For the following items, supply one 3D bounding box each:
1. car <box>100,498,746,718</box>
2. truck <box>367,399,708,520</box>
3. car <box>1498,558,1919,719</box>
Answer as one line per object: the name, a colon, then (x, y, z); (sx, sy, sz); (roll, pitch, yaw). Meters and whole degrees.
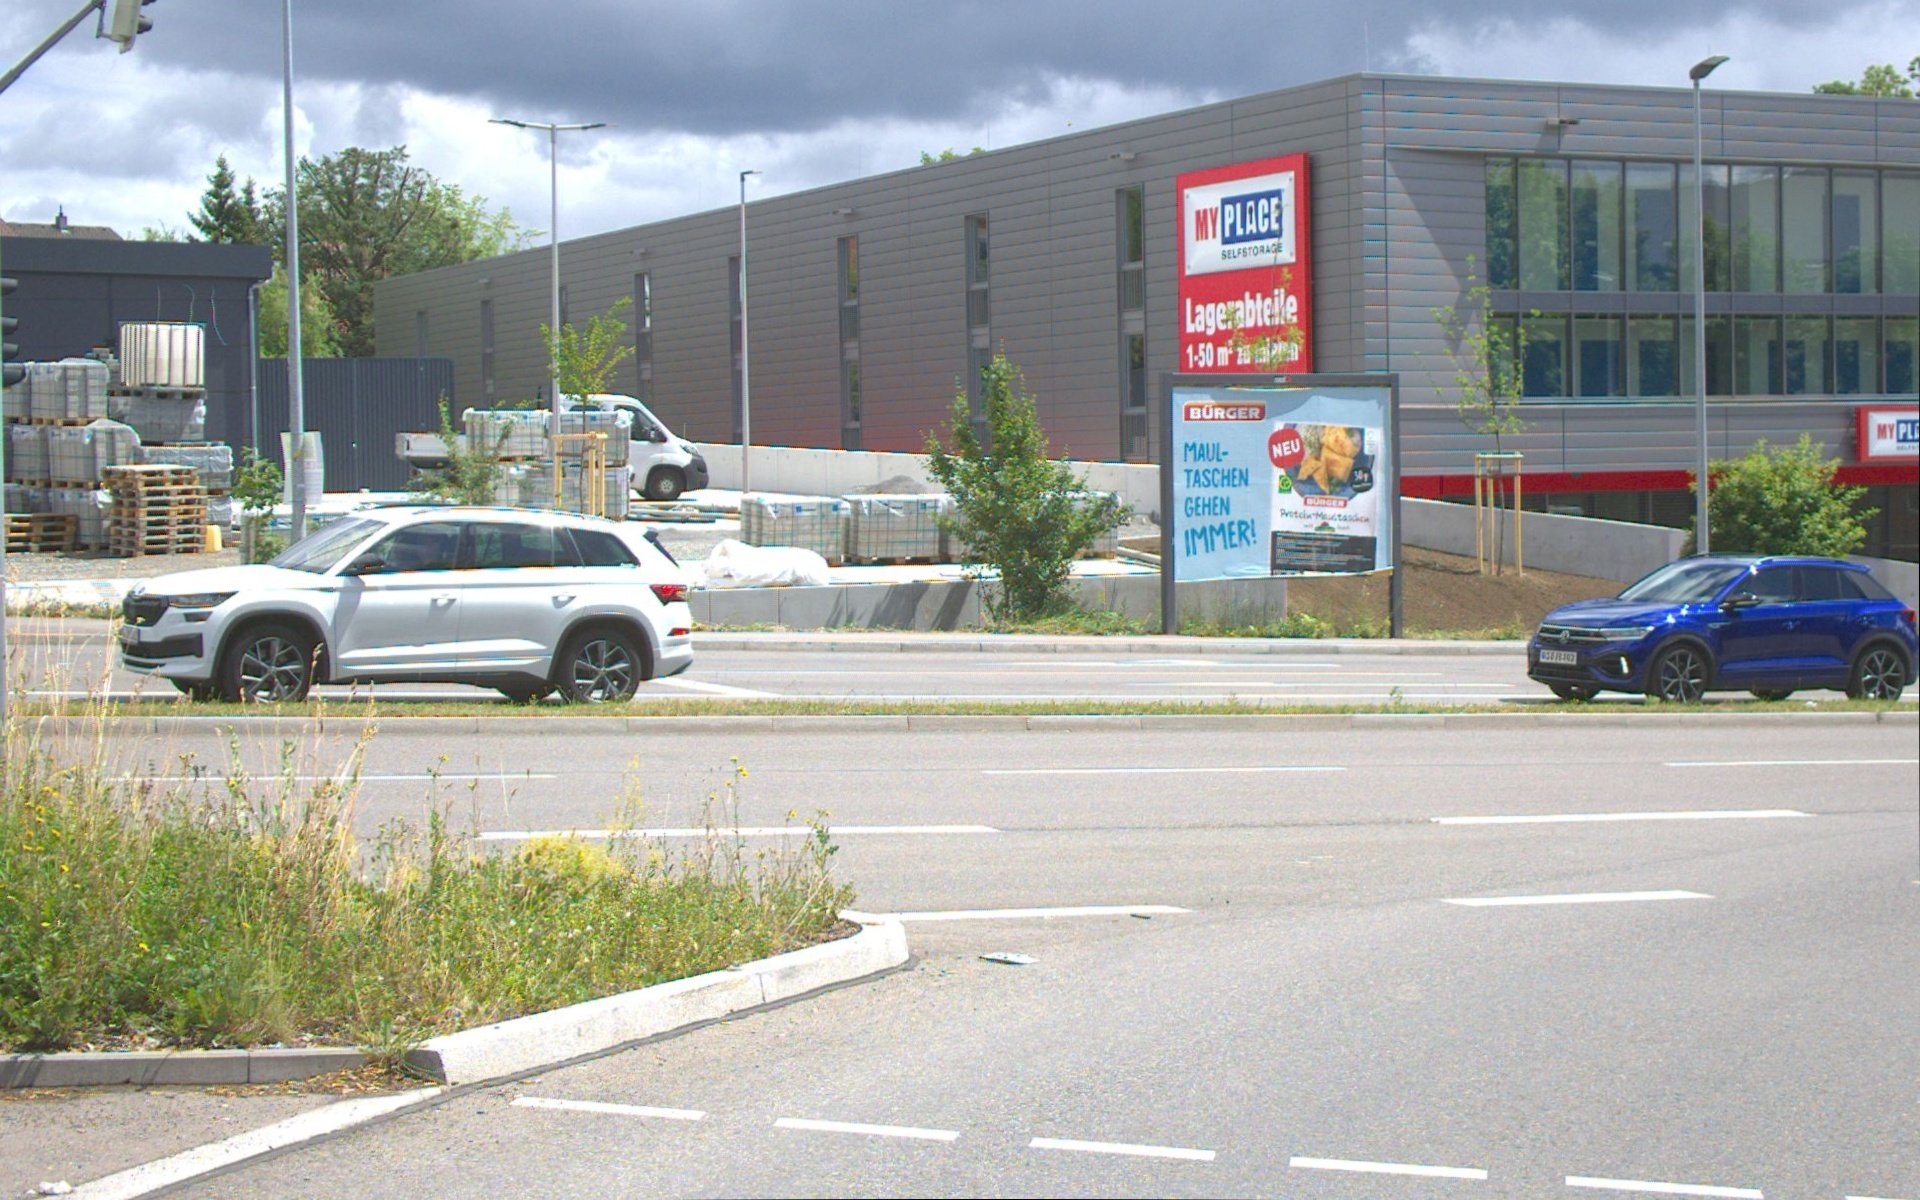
car: (-4.346, 0.049, 28.079); (4.885, 1.653, 1.734); (0, 2, -30)
truck: (-8.576, -2.866, 69.716); (6.557, 2.138, 2.001); (-3, 3, -14)
car: (7.817, 0.377, 34.918); (4.383, 1.506, 1.811); (0, 2, -27)
